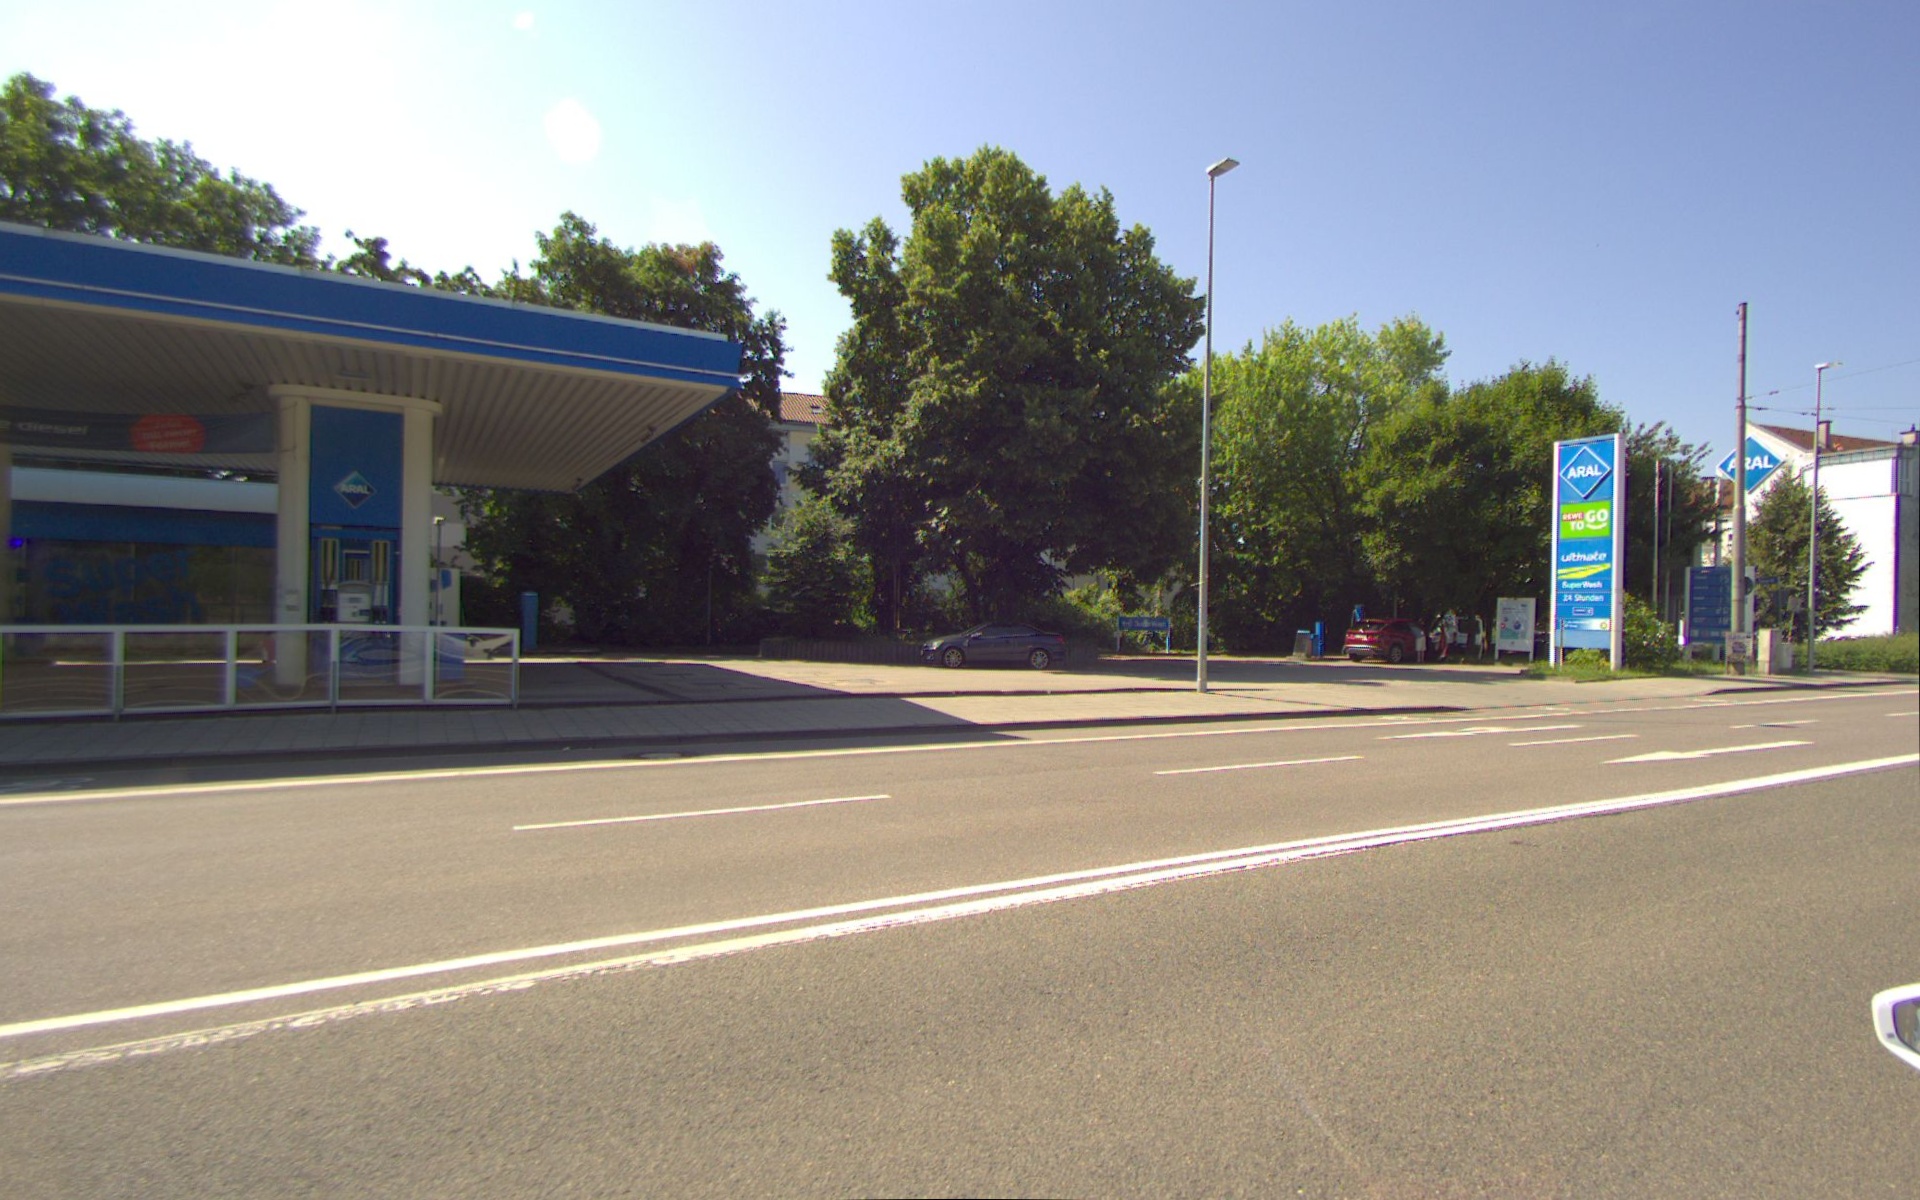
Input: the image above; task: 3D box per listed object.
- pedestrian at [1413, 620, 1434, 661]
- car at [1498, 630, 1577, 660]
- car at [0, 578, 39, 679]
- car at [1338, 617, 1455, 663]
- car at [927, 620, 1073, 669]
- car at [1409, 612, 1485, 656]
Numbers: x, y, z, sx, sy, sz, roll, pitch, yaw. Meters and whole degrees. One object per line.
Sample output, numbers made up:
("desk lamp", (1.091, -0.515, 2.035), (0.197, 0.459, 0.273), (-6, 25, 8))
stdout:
("pedestrian", (17.259, 1.512, 37.417), (0.494, 1.501, 0.496), (1, 0, -30))
("car", (31.203, 2.401, 54.393), (1.634, 1.503, 3.598), (1, -1, -16))
("car", (-20.089, 0.474, 17.318), (5.897, 1.805, 1.834), (1, -1, -31))
("car", (16.471, 1.463, 37.839), (4.464, 1.591, 1.791), (0, 0, -30))
("car", (1.156, 1.325, 30.374), (4.164, 1.363, 1.803), (1, -1, -7))
("car", (29.200, 2.002, 60.346), (1.759, 2.572, 4.173), (1, -1, -16))
